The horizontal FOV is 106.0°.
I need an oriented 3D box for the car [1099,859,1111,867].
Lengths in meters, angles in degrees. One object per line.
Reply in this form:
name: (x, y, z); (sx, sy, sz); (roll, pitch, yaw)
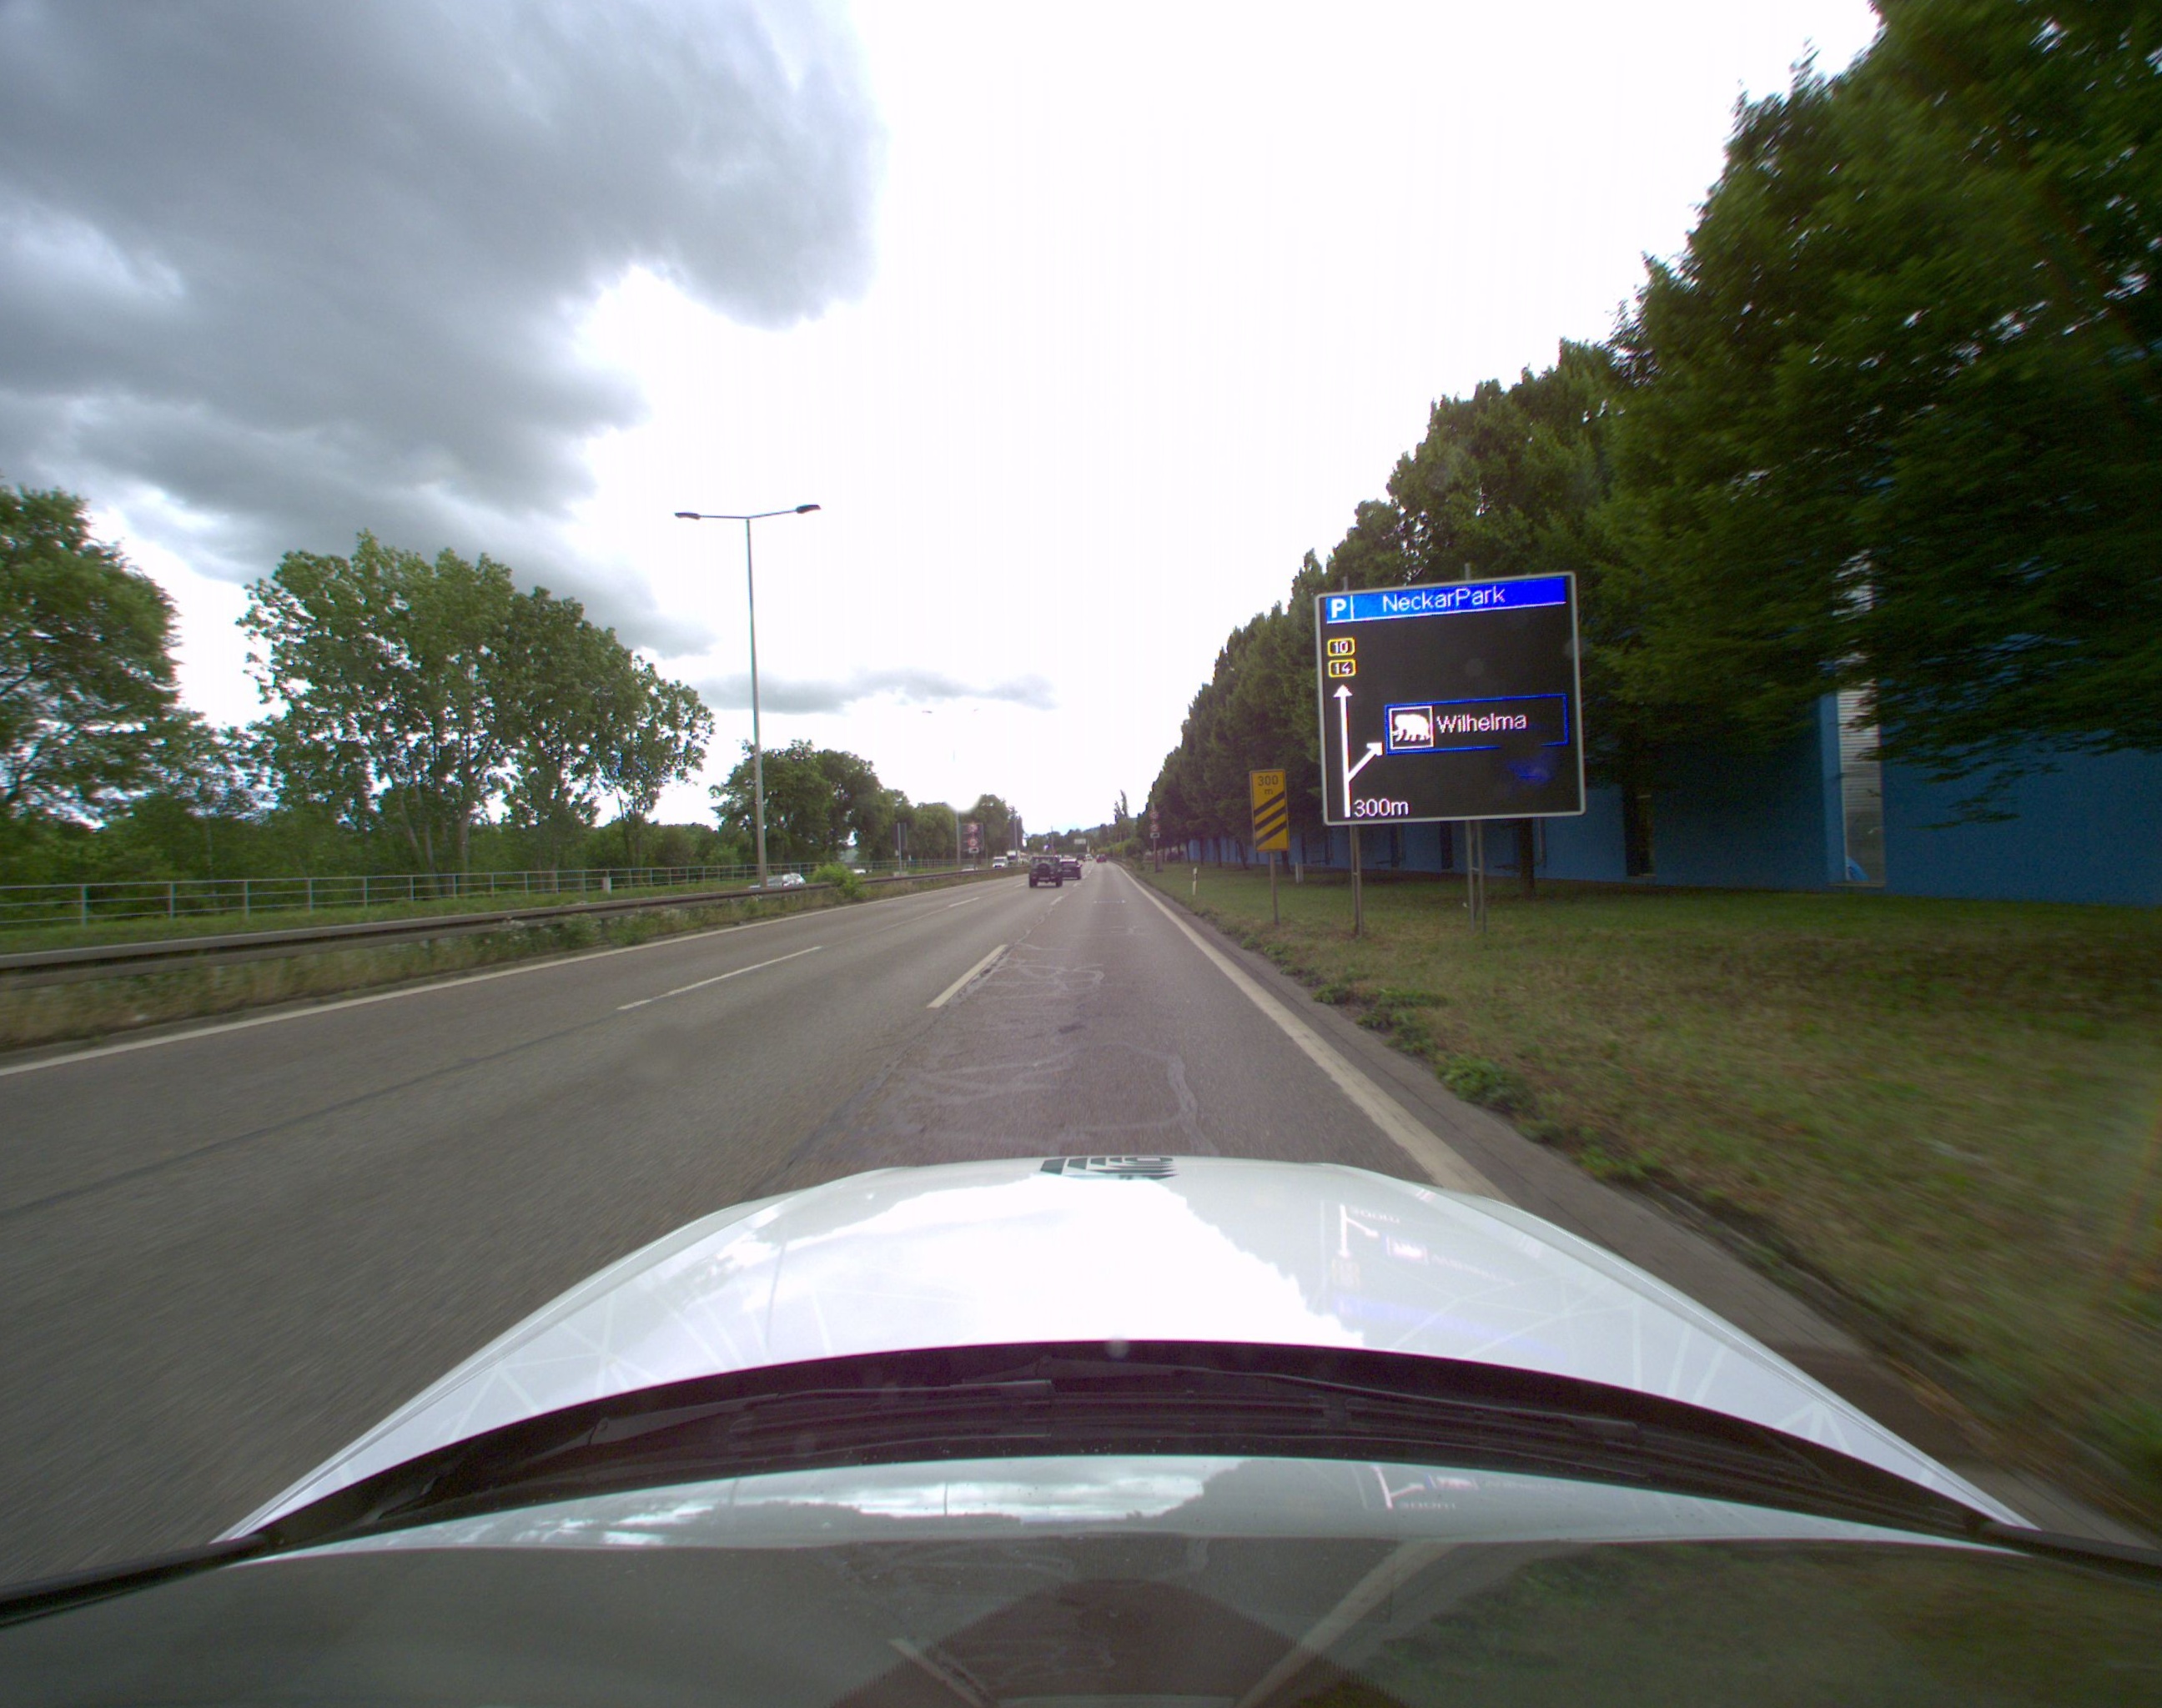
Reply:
car: (4.576, 1.686, 155.653); (1.968, 1.423, 4.900); (-4, 0, 1)

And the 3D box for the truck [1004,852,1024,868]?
truck: (-15.260, 1.366, 186.214); (2.876, 3.579, 9.596); (-3, -1, 4)

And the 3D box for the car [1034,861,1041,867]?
car: (-13.357, 3.142, 252.061); (1.691, 1.605, 4.540); (-5, 0, 2)

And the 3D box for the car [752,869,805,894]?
car: (-20.501, 1.857, 55.303); (1.871, 1.490, 4.203); (-2, 0, 2)

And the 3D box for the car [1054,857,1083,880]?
car: (-0.878, 1.019, 58.601); (1.839, 1.423, 4.900); (-4, 0, 1)

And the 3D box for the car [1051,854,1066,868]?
car: (-2.817, 0.830, 102.961); (1.692, 1.742, 4.000); (-1, 0, 1)

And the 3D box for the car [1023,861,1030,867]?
car: (-15.810, 2.998, 236.072); (1.720, 1.605, 4.044); (-5, 0, 2)

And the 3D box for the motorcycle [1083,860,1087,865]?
motorcycle: (0.856, 1.910, 183.503); (0.788, 1.219, 2.331); (-2, 0, 2)

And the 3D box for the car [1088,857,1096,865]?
car: (2.763, 1.783, 209.725); (2.006, 1.934, 4.900); (-4, -1, 1)

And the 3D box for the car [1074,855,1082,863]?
car: (-0.883, 1.415, 225.538); (2.006, 1.934, 4.900); (-4, -1, 1)

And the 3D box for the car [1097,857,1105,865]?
car: (4.397, 1.548, 176.707); (1.691, 1.742, 4.395); (-3, 0, 2)

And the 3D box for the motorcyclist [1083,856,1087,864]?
motorcyclist: (0.834, 1.387, 183.526); (0.788, 1.760, 0.923); (-2, 0, 2)

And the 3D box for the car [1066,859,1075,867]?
car: (-2.471, 2.092, 184.832); (1.691, 1.742, 4.396); (-4, 0, 3)

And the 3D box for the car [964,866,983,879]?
car: (-13.318, 2.304, 100.858); (1.653, 1.398, 3.990); (-2, 0, 2)

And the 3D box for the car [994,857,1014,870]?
car: (-12.175, 1.496, 128.678); (2.216, 1.948, 5.479); (-3, 0, 4)

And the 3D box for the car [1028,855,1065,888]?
car: (-1.834, 0.905, 44.329); (1.691, 1.686, 4.002); (0, 0, 2)
